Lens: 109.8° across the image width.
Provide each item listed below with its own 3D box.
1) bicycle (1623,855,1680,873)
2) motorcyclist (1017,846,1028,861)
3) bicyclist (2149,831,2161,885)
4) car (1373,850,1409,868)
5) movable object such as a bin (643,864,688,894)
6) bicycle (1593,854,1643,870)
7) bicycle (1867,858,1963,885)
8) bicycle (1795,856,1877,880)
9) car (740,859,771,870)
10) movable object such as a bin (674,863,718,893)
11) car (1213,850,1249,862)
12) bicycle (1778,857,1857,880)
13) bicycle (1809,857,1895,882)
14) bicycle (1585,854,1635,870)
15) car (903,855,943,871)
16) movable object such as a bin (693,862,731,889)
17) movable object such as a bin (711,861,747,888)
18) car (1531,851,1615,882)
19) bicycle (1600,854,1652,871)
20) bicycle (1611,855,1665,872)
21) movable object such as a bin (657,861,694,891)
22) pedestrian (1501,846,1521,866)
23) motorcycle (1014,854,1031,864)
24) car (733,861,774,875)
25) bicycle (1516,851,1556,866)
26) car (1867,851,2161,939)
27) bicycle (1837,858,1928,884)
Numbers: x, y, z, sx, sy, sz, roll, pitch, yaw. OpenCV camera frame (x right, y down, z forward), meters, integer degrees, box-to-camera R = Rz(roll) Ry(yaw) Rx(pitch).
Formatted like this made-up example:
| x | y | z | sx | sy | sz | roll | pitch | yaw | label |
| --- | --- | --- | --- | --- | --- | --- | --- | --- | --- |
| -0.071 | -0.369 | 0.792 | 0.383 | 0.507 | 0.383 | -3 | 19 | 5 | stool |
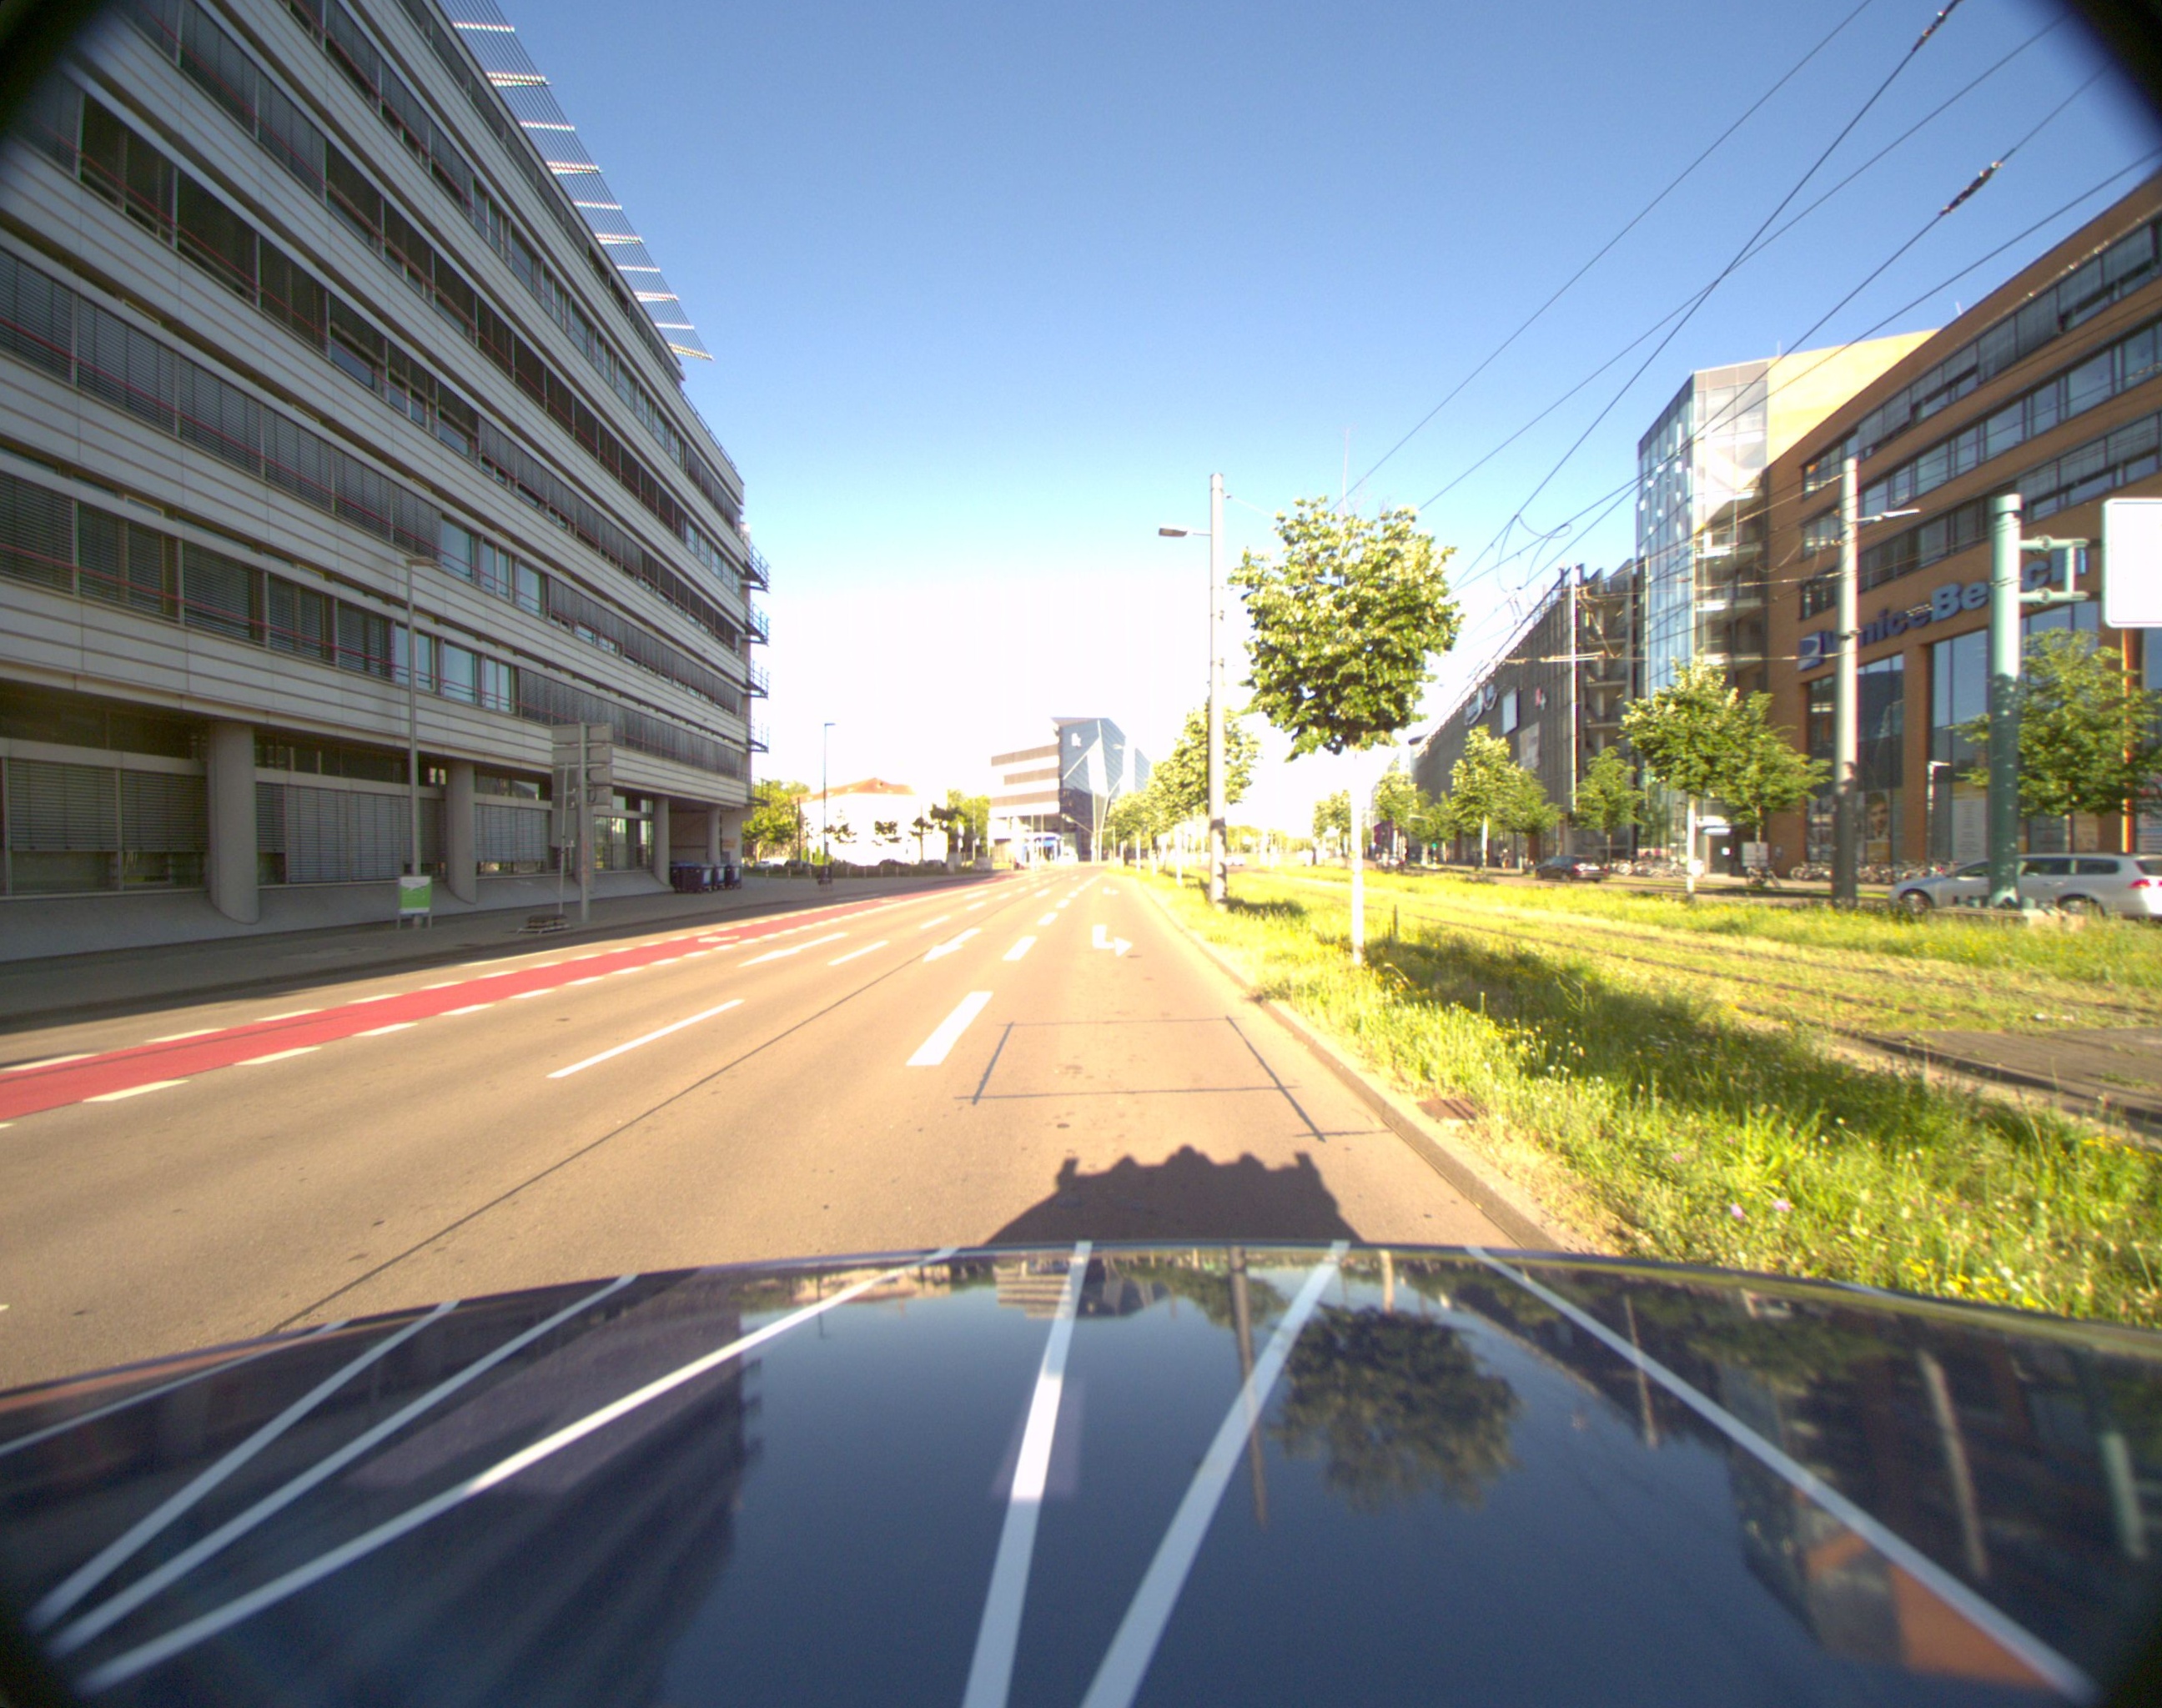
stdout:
| x | y | z | sx | sy | sz | roll | pitch | yaw | label |
| --- | --- | --- | --- | --- | --- | --- | --- | --- | --- |
| 35.050 | 0.637 | 46.692 | 2.687 | 1.097 | 0.897 | 0 | 0 | 11 | bicycle |
| -7.309 | -0.061 | 95.480 | 1.109 | 1.846 | 0.823 | 1 | 1 | 42 | motorcyclist |
| 31.374 | 0.116 | 21.524 | 0.895 | 1.539 | 0.939 | 0 | 0 | 1 | bicyclist |
| 27.237 | 0.405 | 66.851 | 1.625 | 1.519 | 4.357 | 0 | 0 | 4 | car |
| -18.524 | 1.094 | 33.892 | 1.328 | 1.294 | 1.174 | -1 | 1 | 1 | movable object such as a bin |
| 36.193 | 0.543 | 51.236 | 2.687 | 1.097 | 0.826 | 0 | 0 | 11 | bicycle |
| 34.498 | 0.735 | 31.466 | 2.687 | 1.097 | 0.897 | 0 | 0 | 11 | bicycle |
| 35.416 | 0.643 | 35.667 | 2.687 | 1.097 | 0.897 | 0 | 0 | 11 | bicycle |
| -44.816 | 1.424 | 104.740 | 3.804 | 1.523 | 1.737 | -1 | 1 | -17 | car |
| -17.161 | 1.044 | 33.868 | 1.328 | 1.294 | 1.174 | -1 | 1 | 1 | movable object such as a bin |
| 19.068 | 0.265 | 96.779 | 1.682 | 1.519 | 4.343 | 0 | 1 | -40 | car |
| 35.657 | 0.710 | 36.828 | 2.687 | 1.097 | 0.897 | 0 | 0 | 11 | bicycle |
| 34.902 | 0.686 | 34.443 | 2.687 | 1.097 | 0.897 | 0 | 0 | 11 | bicycle |
| 36.312 | 0.533 | 52.147 | 2.687 | 1.097 | 0.897 | 0 | 0 | 11 | bicycle |
| -15.423 | 0.853 | 73.990 | 3.790 | 1.523 | 1.744 | 0 | 1 | 37 | car |
| -17.982 | 1.035 | 37.039 | 1.173 | 1.293 | 1.329 | -1 | 1 | 1 | movable object such as a bin |
| -17.778 | 1.040 | 38.382 | 1.173 | 1.293 | 1.329 | -1 | 1 | 1 | movable object such as a bin |
| 25.786 | 0.615 | 40.007 | 1.626 | 1.519 | 4.355 | 0 | 0 | 1 | car |
| 36.034 | 0.559 | 50.261 | 2.687 | 1.097 | 0.897 | 0 | 0 | 11 | bicycle |
| 35.588 | 0.595 | 48.564 | 2.687 | 1.097 | 0.897 | 0 | 0 | 11 | bicycle |
| -19.095 | 1.006 | 35.821 | 1.109 | 1.366 | 1.108 | -1 | 1 | 1 | movable object such as a bin |
| 37.492 | 0.178 | 66.225 | 1.072 | 1.671 | 1.095 | -1 | 1 | -6 | pedestrian |
| -7.322 | 0.600 | 95.485 | 2.249 | 1.214 | 0.823 | 1 | 1 | 42 | motorcycle |
| -36.451 | 1.533 | 84.610 | 3.794 | 1.523 | 1.742 | 0 | 1 | 13 | car |
| 37.913 | 0.392 | 63.354 | 2.687 | 1.182 | 0.897 | 0 | 0 | 11 | bicycle |
| 19.726 | 0.720 | 15.801 | 1.626 | 1.519 | 4.801 | -1 | 0 | -4 | car |
| 34.571 | 0.717 | 32.805 | 2.687 | 1.097 | 0.897 | 0 | 0 | 11 | bicycle |
